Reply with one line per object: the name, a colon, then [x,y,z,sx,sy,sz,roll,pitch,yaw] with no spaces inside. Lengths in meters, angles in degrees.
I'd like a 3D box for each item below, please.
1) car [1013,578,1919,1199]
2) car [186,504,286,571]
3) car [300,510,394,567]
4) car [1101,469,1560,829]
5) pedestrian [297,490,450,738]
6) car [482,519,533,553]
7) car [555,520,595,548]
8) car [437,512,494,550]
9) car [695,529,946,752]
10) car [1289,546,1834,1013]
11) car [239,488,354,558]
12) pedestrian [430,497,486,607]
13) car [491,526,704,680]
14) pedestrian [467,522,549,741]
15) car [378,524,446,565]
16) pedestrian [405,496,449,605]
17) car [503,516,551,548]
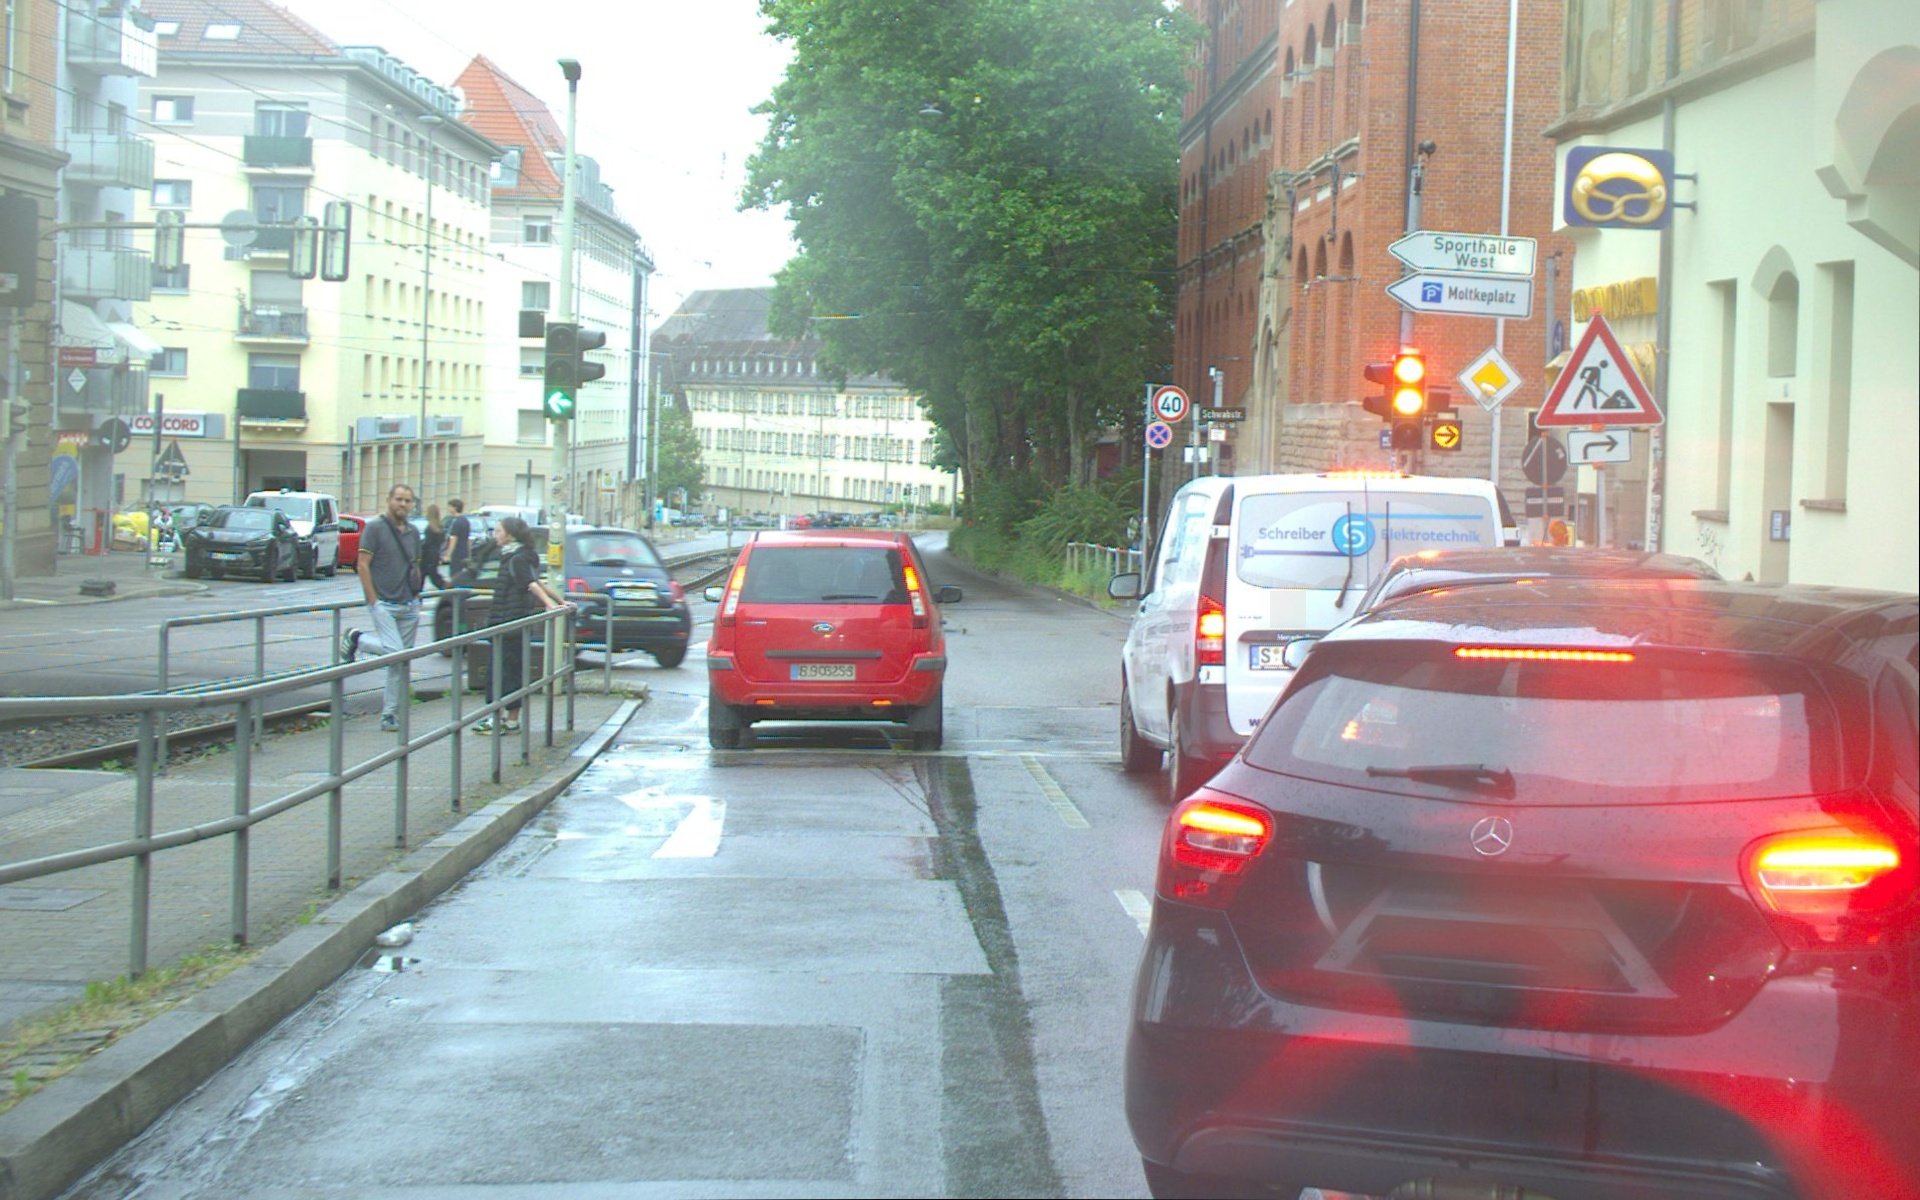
car: [1.872,0.673,8.138,1.897,1.385,3.994,2,1,27]
car: [-15.374,-1.337,73.137,1.452,1.314,3.295,3,1,-2]
car: [-15.346,-1.541,86.189,1.680,1.351,3.703,2,1,0]
car: [2.026,0.207,20.110,1.933,1.825,4.282,2,1,-3]
pedestrian: [-4.173,0.093,24.469,0.739,1.718,0.740,1,1,-44]
car: [-16.230,-2.292,123.370,1.395,1.167,3.162,2,1,0]
car: [-16.977,-2.911,151.618,1.395,1.167,3.162,2,1,0]
car: [-15.974,-2.217,111.150,1.395,1.167,3.162,2,1,0]
car: [-1.029,0.243,25.203,1.679,1.484,3.613,1,1,-3]
car: [2.227,0.555,13.414,1.714,1.464,4.280,2,1,7]
car: [-15.350,-1.772,79.706,1.786,1.525,4.462,2,1,0]
pedestrian: [-7.687,-0.737,52.619,0.679,1.655,0.676,1,1,6]
car: [-3.913,0.008,36.732,1.419,1.484,3.163,2,2,-22]
pedestrian: [-3.208,0.219,24.381,0.531,1.525,0.437,2,1,-8]
car: [-15.743,-1.596,98.819,1.437,1.103,3.162,2,1,0]
pedestrian: [-8.313,-0.776,53.638,0.518,1.660,0.477,3,1,3]
car: [-16.316,-2.559,129.646,1.395,1.167,3.162,2,1,0]
